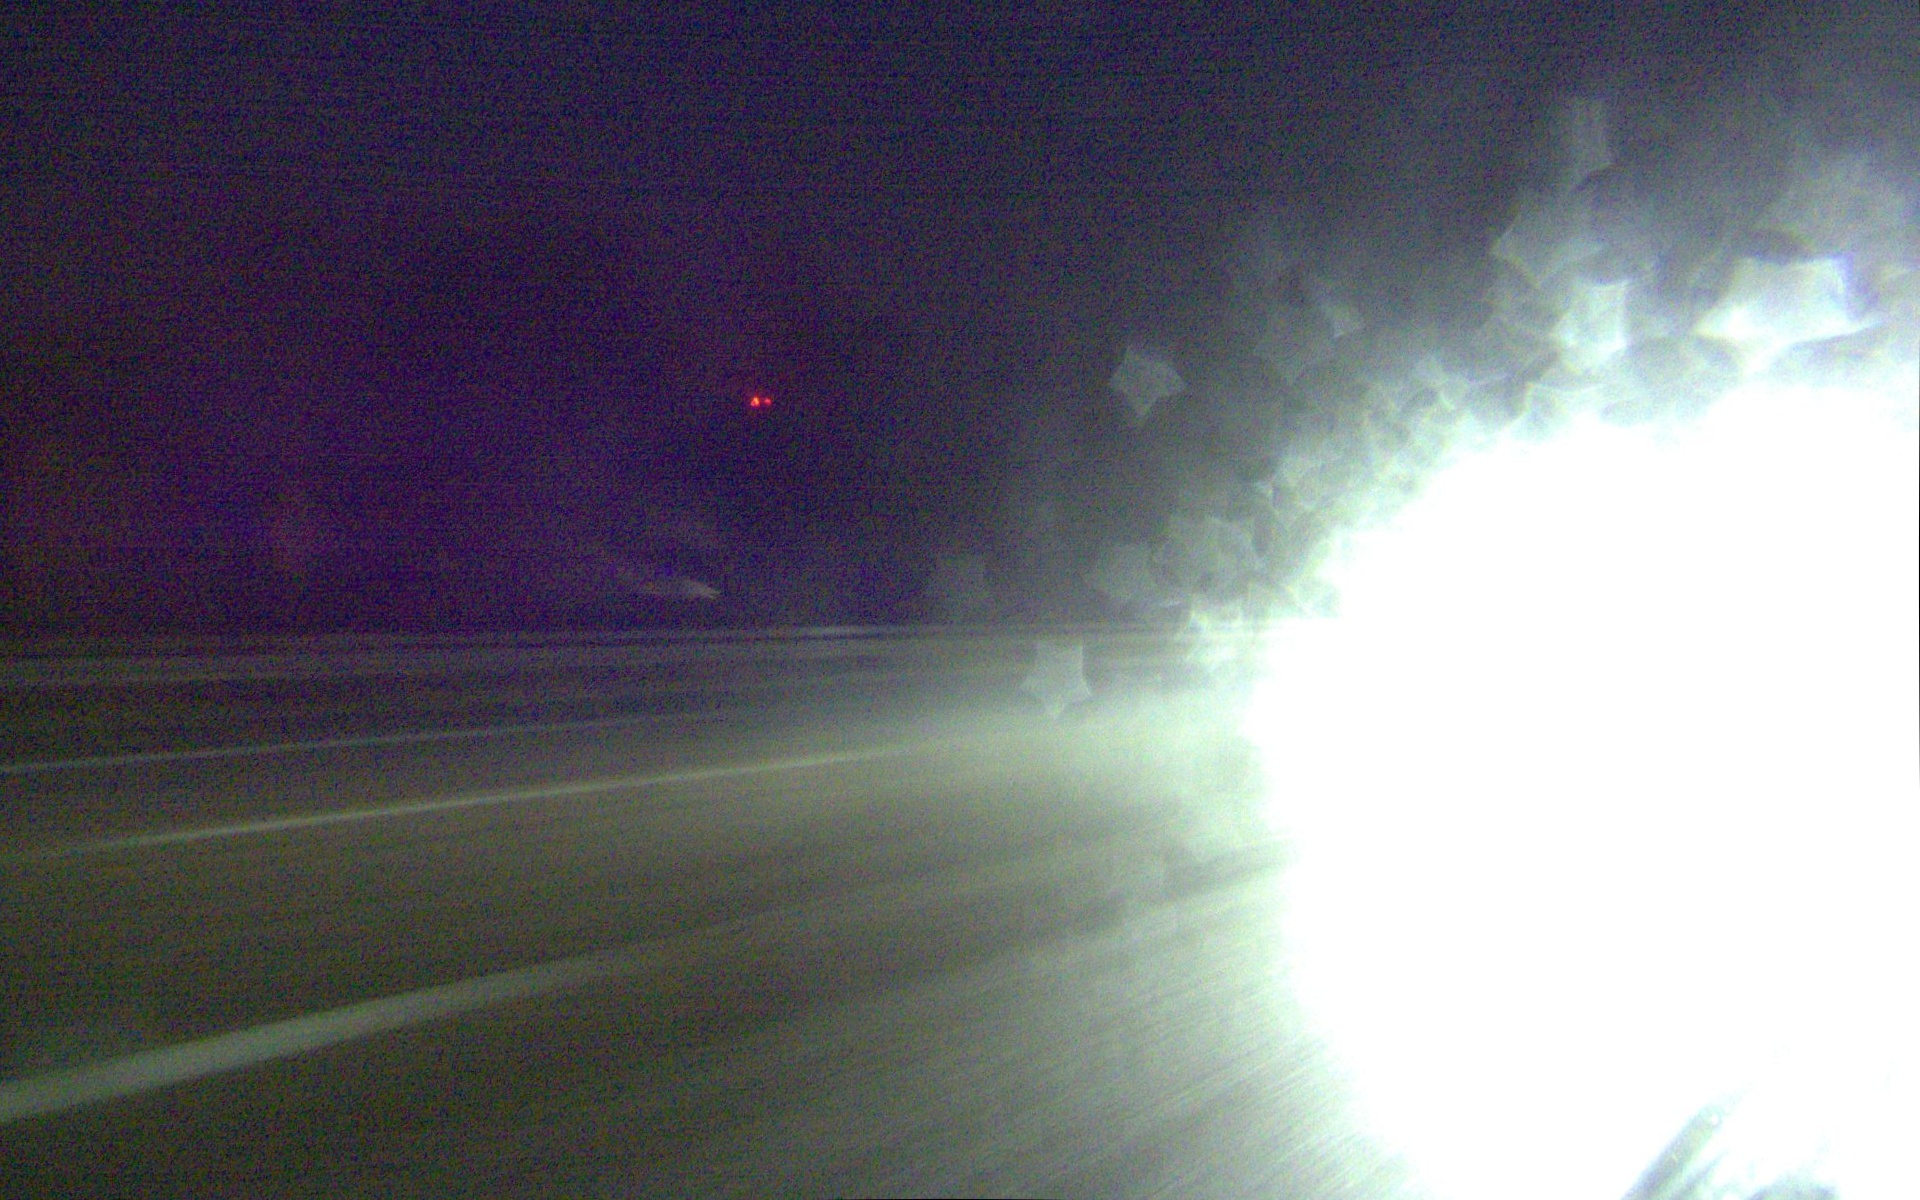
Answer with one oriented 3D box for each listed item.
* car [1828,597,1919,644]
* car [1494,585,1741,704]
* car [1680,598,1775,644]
[{"bbox_3d":[30.940,0.682,33.932,4.255,1.467,1.999,1,-1,-38],"label":"car"},{"bbox_3d":[10.195,0.553,15.515,4.931,1.538,2.060,0,1,-43],"label":"car"},{"bbox_3d":[27.448,0.750,36.173,3.969,1.516,1.724,1,-1,-38],"label":"car"}]
